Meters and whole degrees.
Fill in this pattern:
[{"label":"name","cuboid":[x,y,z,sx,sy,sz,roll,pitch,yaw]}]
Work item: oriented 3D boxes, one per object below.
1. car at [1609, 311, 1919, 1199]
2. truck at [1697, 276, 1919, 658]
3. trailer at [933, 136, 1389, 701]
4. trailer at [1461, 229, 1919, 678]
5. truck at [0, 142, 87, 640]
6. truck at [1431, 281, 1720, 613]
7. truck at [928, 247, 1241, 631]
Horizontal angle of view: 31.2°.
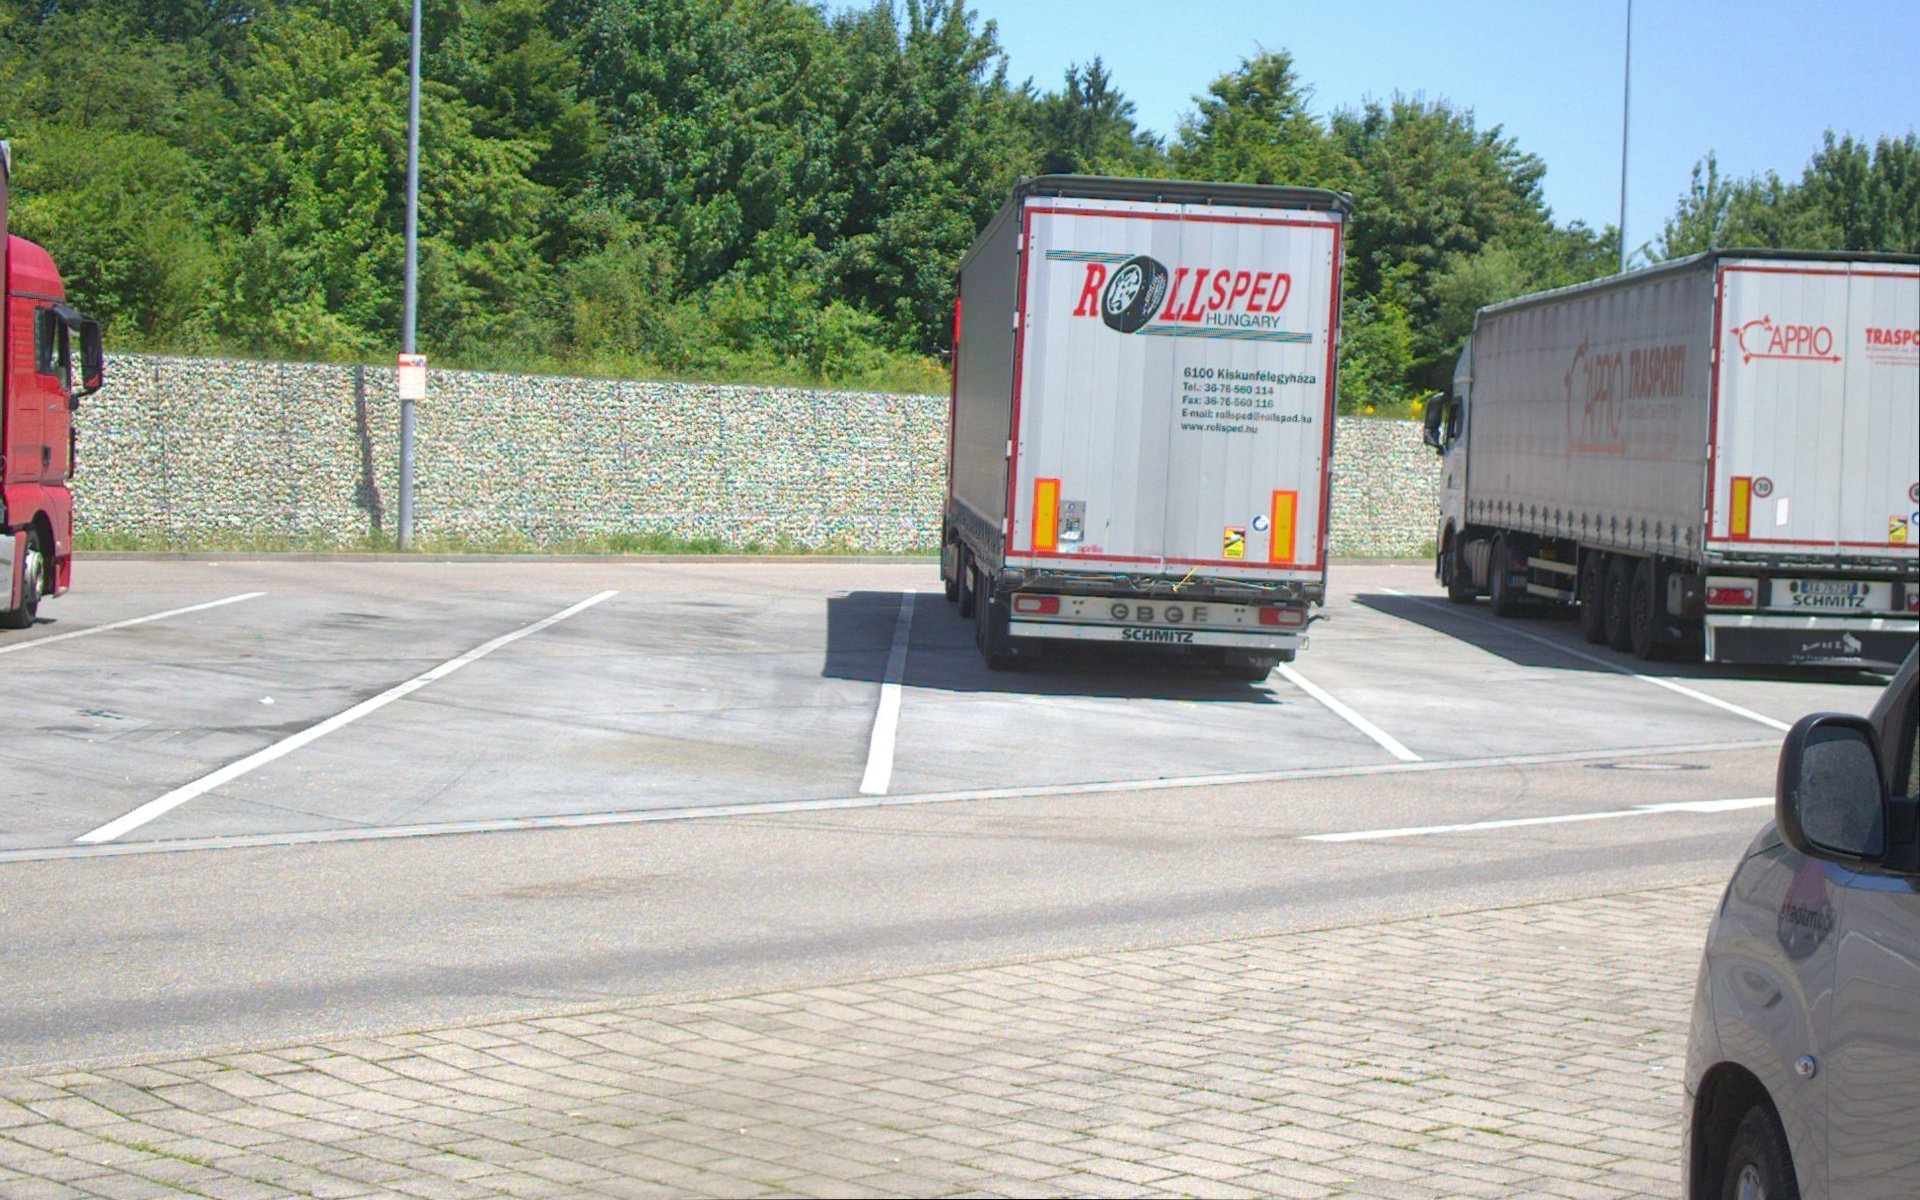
[{"label":"car","cuboid":[2.142,0.541,3.803,1.825,1.747,4.001,1,2,-4]},{"label":"truck","cuboid":[11.735,-1.477,39.815,2.904,4.110,14.528,3,2,-1]},{"label":"trailer","cuboid":[1.484,-1.699,32.646,3.069,4.213,12.810,2,3,-2]},{"label":"trailer","cuboid":[8.146,-1.576,38.482,2.876,4.110,13.572,1,2,-1]},{"label":"truck","cuboid":[-9.226,-1.703,27.663,2.743,4.067,6.830,1,2,-1]},{"label":"truck","cuboid":[8.032,-1.992,45.478,2.757,4.110,5.285,1,2,-1]},{"label":"truck","cuboid":[1.268,-1.857,39.414,3.026,3.915,6.847,2,3,-2]}]
